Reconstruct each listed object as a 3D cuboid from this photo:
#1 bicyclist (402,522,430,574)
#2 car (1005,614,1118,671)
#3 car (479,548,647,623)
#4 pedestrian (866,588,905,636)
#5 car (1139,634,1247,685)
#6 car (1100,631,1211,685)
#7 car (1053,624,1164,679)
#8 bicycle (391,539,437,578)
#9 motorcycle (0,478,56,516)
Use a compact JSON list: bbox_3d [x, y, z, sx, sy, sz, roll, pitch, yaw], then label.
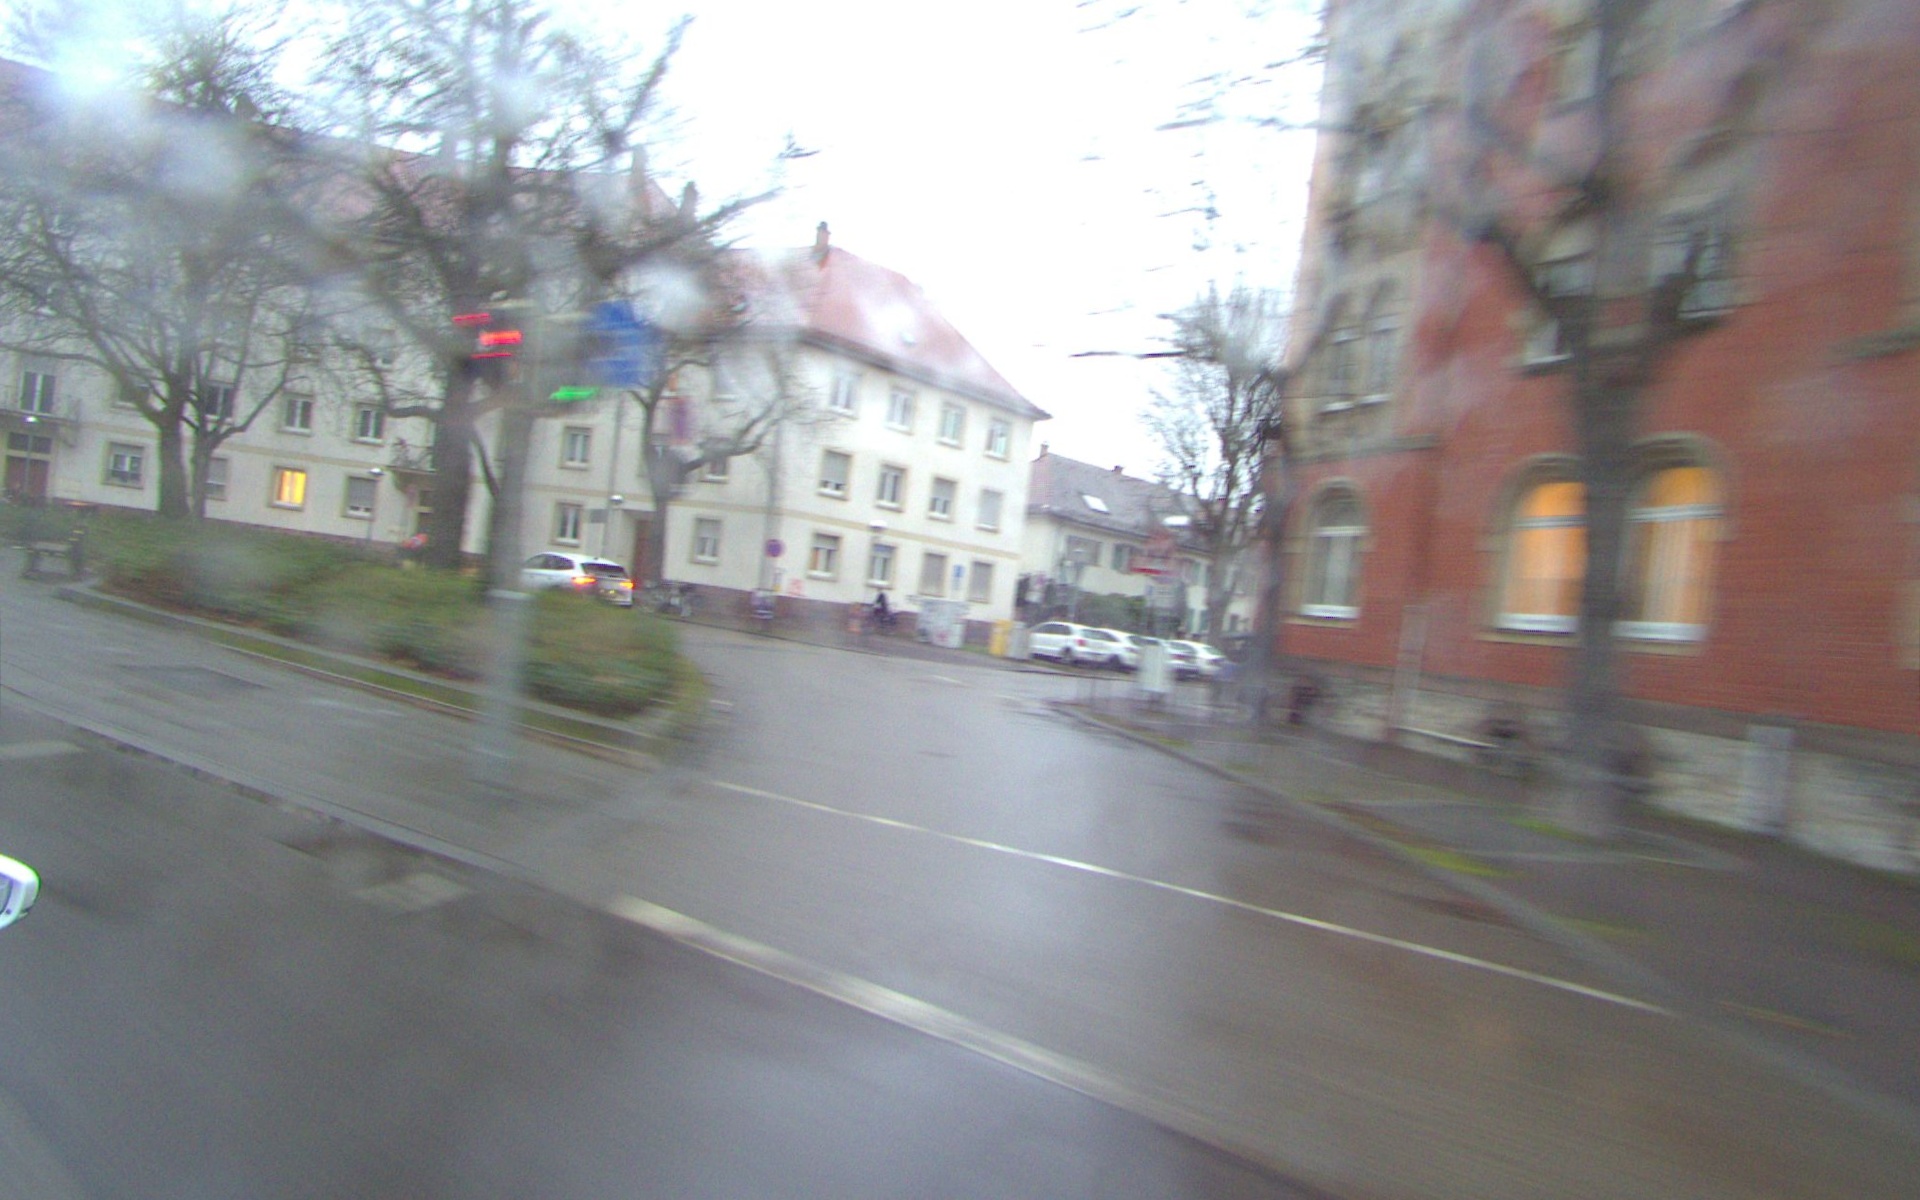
[{"bbox_3d":[-21.140,-2.006,39.102,0.667,1.910,0.467,7,1,27],"label":"bicyclist"},{"bbox_3d":[3.623,1.505,36.463,1.834,1.504,3.962,8,0,-35],"label":"car"},{"bbox_3d":[-10.587,-0.410,26.716,4.682,1.528,1.893,5,-2,37],"label":"car"},{"bbox_3d":[-2.854,0.460,38.425,0.750,1.662,1.117,8,1,42],"label":"pedestrian"},{"bbox_3d":[9.446,2.395,41.091,1.834,1.493,3.962,8,0,-35],"label":"car"},{"bbox_3d":[7.544,2.229,39.199,1.834,1.493,3.962,8,0,-35],"label":"car"},{"bbox_3d":[5.555,1.908,38.040,1.834,1.493,3.962,8,0,-35],"label":"car"},{"bbox_3d":[-21.208,-1.622,39.087,1.880,1.307,0.467,7,0,27],"label":"bicycle"},{"bbox_3d":[-34.322,-3.785,36.930,1.576,1.120,0.568,8,3,-9],"label":"motorcycle"}]
